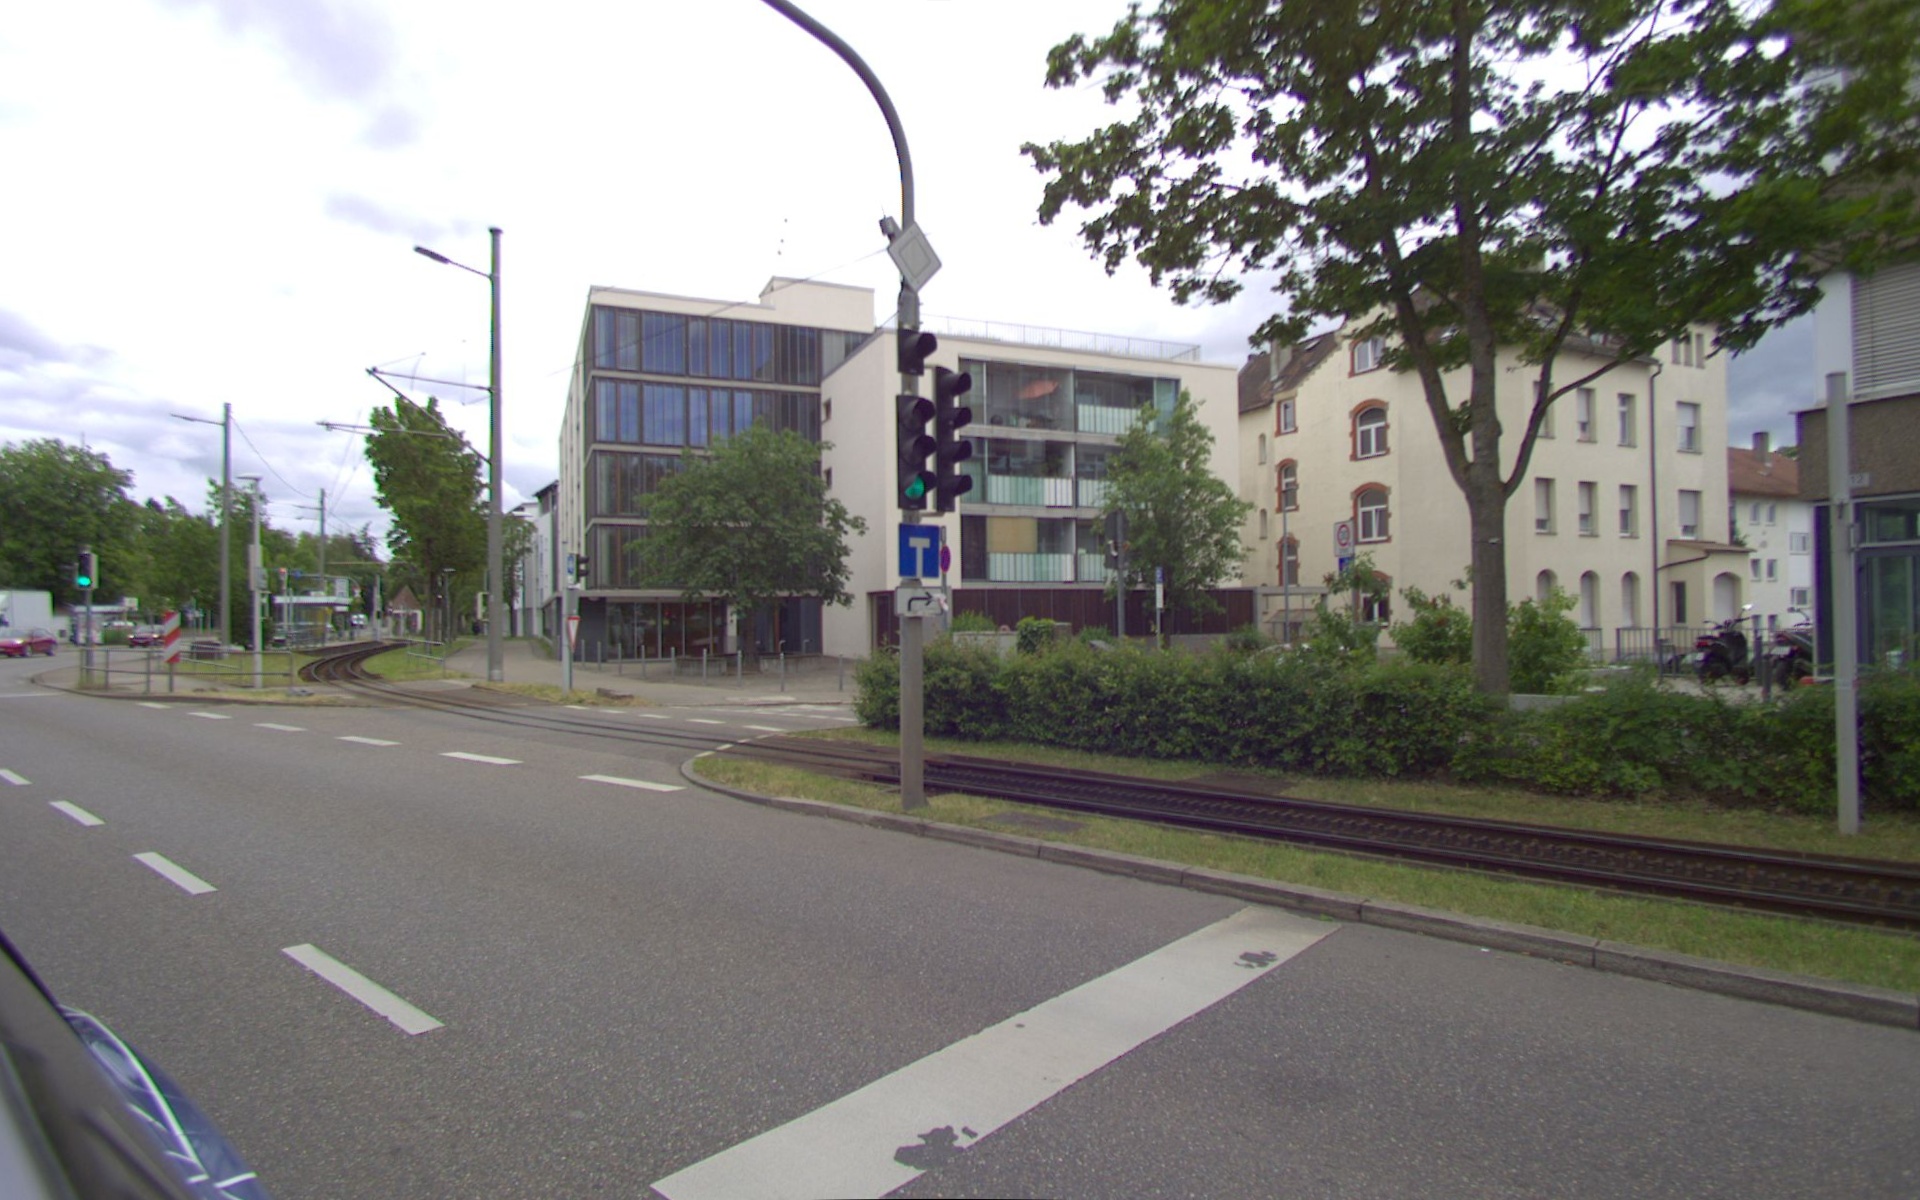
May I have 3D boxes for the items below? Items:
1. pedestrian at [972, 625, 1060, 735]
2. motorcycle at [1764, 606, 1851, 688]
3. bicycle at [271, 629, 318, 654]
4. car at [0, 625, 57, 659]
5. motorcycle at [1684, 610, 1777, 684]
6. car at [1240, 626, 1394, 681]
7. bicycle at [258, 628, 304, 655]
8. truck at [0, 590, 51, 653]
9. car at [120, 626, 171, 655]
[{"bbox_3d":[0.819,1.145,14.877,0.995,1.538,0.839,-1,-2,40],"label":"pedestrian"},{"bbox_3d":[13.174,0.702,15.719,1.854,1.208,0.569,0,-1,-36],"label":"motorcycle"},{"bbox_3d":[-30.739,1.912,46.739,1.724,1.054,0.409,-2,0,-22],"label":"bicycle"},{"bbox_3d":[-45.342,2.002,48.479,1.819,1.546,4.013,1,-3,-22],"label":"car"},{"bbox_3d":[13.166,0.778,17.283,1.853,1.208,0.570,0,-1,-30],"label":"motorcycle"},{"bbox_3d":[9.498,1.411,26.881,3.931,1.369,1.647,2,-2,-28],"label":"car"},{"bbox_3d":[-30.436,1.858,45.369,1.682,1.097,0.409,-2,0,-36],"label":"bicycle"},{"bbox_3d":[-55.090,1.214,57.674,2.499,3.452,7.801,0,0,-23],"label":"truck"},{"bbox_3d":[-54.644,2.687,67.961,1.819,1.875,4.271,0,-1,-27],"label":"car"}]
